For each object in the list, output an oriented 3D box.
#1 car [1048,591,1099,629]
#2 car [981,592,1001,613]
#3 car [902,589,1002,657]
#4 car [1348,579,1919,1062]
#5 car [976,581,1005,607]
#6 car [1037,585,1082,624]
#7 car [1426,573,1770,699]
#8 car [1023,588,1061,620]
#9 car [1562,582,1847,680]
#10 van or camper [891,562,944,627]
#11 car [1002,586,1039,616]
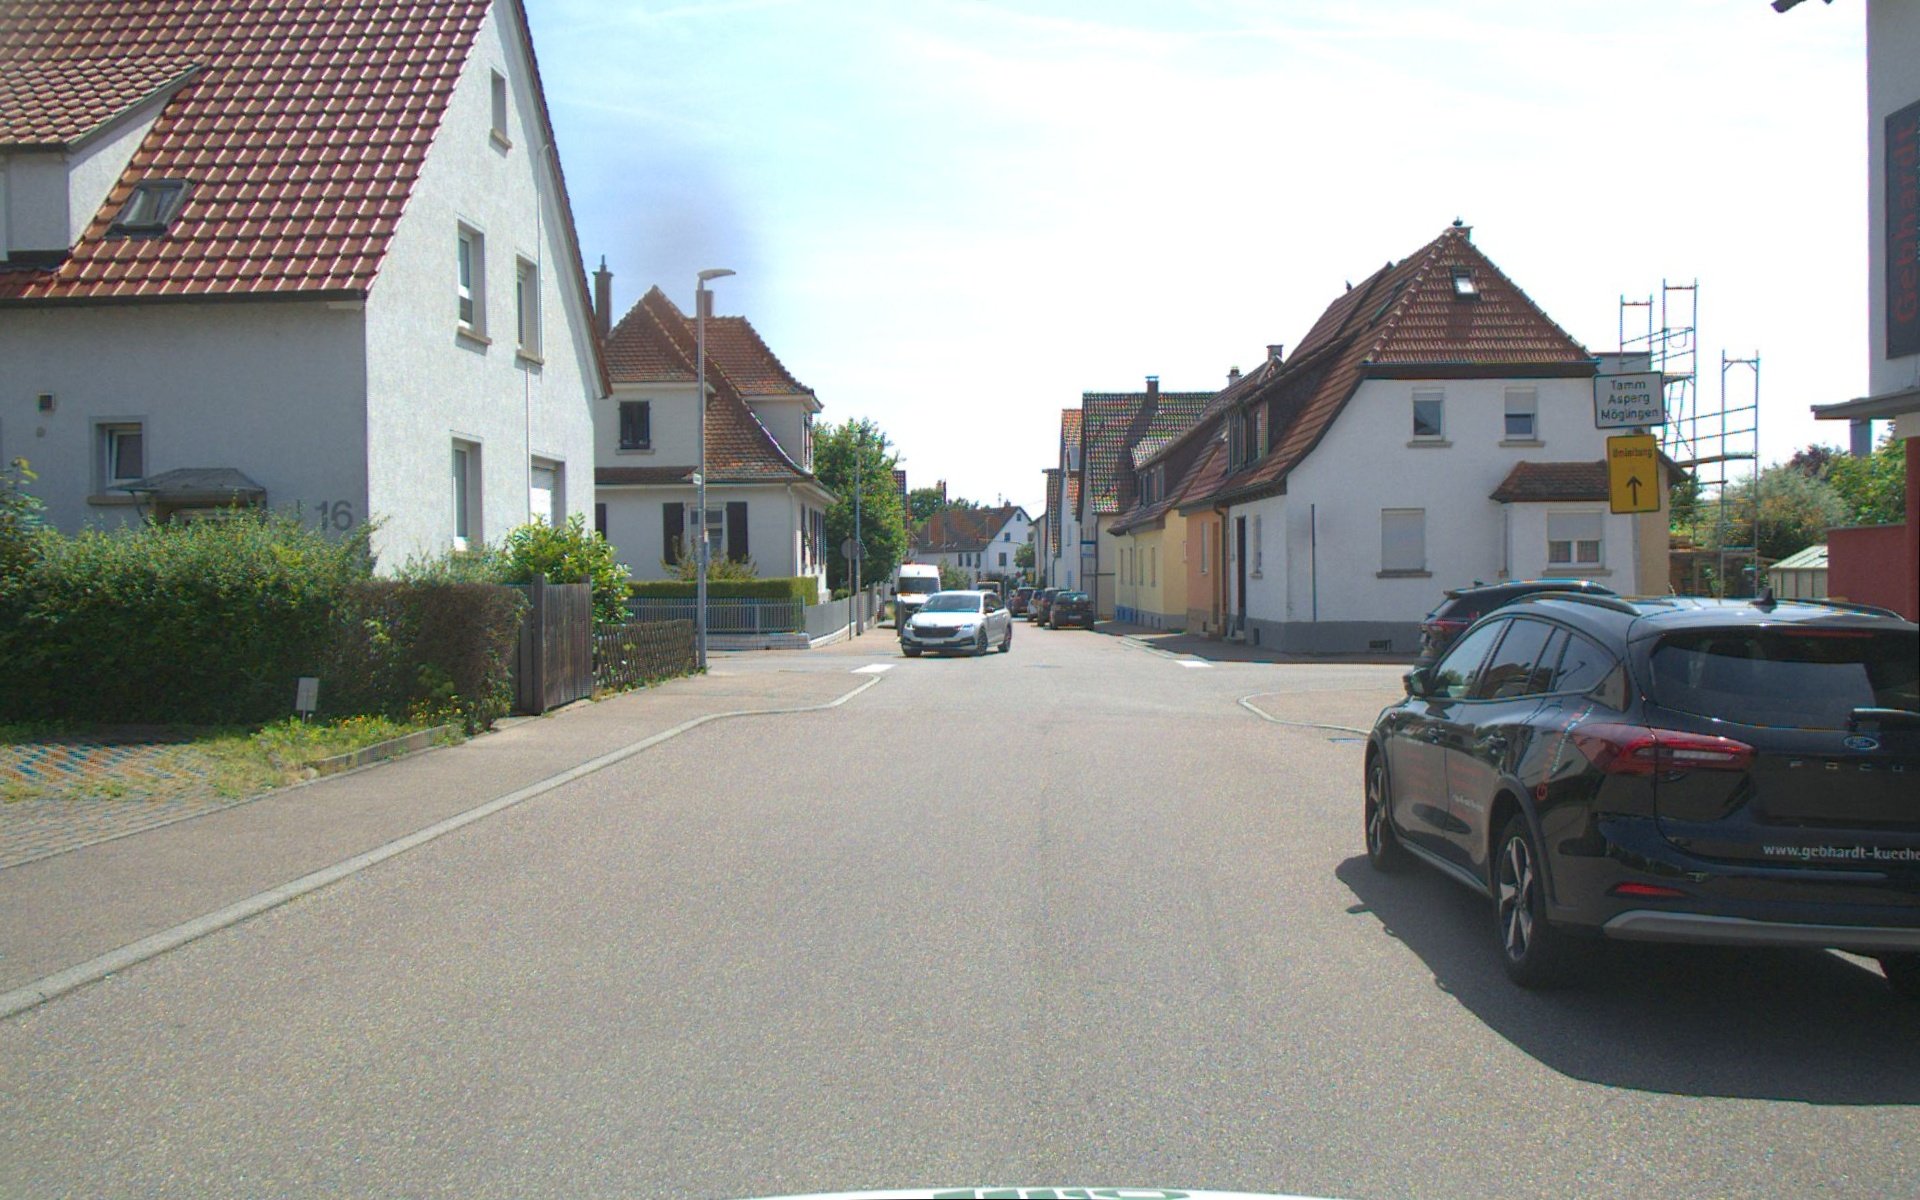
[{"bbox_3d":[4.404,0.377,64.602,1.578,1.456,3.752,0,0,-3],"label":"car"},{"bbox_3d":[2.444,0.182,128.653,1.484,1.594,3.185,0,0,3],"label":"car"},{"bbox_3d":[-0.116,0.489,38.152,1.716,1.463,4.592,0,0,7],"label":"car"},{"bbox_3d":[3.110,0.706,7.568,1.725,1.553,4.407,1,0,2],"label":"car"},{"bbox_3d":[2.653,-0.514,142.621,2.084,2.196,4.739,-1,0,5],"label":"car"},{"bbox_3d":[4.202,0.179,70.378,1.693,1.627,4.253,0,0,0],"label":"car"},{"bbox_3d":[8.850,0.478,23.269,4.202,1.682,1.849,0,0,7],"label":"car"},{"bbox_3d":[4.074,0.194,82.316,1.640,1.586,3.039,0,0,-3],"label":"car"},{"bbox_3d":[12.037,0.484,26.942,3.903,1.530,1.695,0,0,5],"label":"car"},{"bbox_3d":[-1.773,-0.232,70.038,2.140,2.616,6.806,0,0,-1],"label":"van or camper"},{"bbox_3d":[3.548,0.028,97.452,1.838,1.730,4.181,0,0,-3],"label":"car"}]
